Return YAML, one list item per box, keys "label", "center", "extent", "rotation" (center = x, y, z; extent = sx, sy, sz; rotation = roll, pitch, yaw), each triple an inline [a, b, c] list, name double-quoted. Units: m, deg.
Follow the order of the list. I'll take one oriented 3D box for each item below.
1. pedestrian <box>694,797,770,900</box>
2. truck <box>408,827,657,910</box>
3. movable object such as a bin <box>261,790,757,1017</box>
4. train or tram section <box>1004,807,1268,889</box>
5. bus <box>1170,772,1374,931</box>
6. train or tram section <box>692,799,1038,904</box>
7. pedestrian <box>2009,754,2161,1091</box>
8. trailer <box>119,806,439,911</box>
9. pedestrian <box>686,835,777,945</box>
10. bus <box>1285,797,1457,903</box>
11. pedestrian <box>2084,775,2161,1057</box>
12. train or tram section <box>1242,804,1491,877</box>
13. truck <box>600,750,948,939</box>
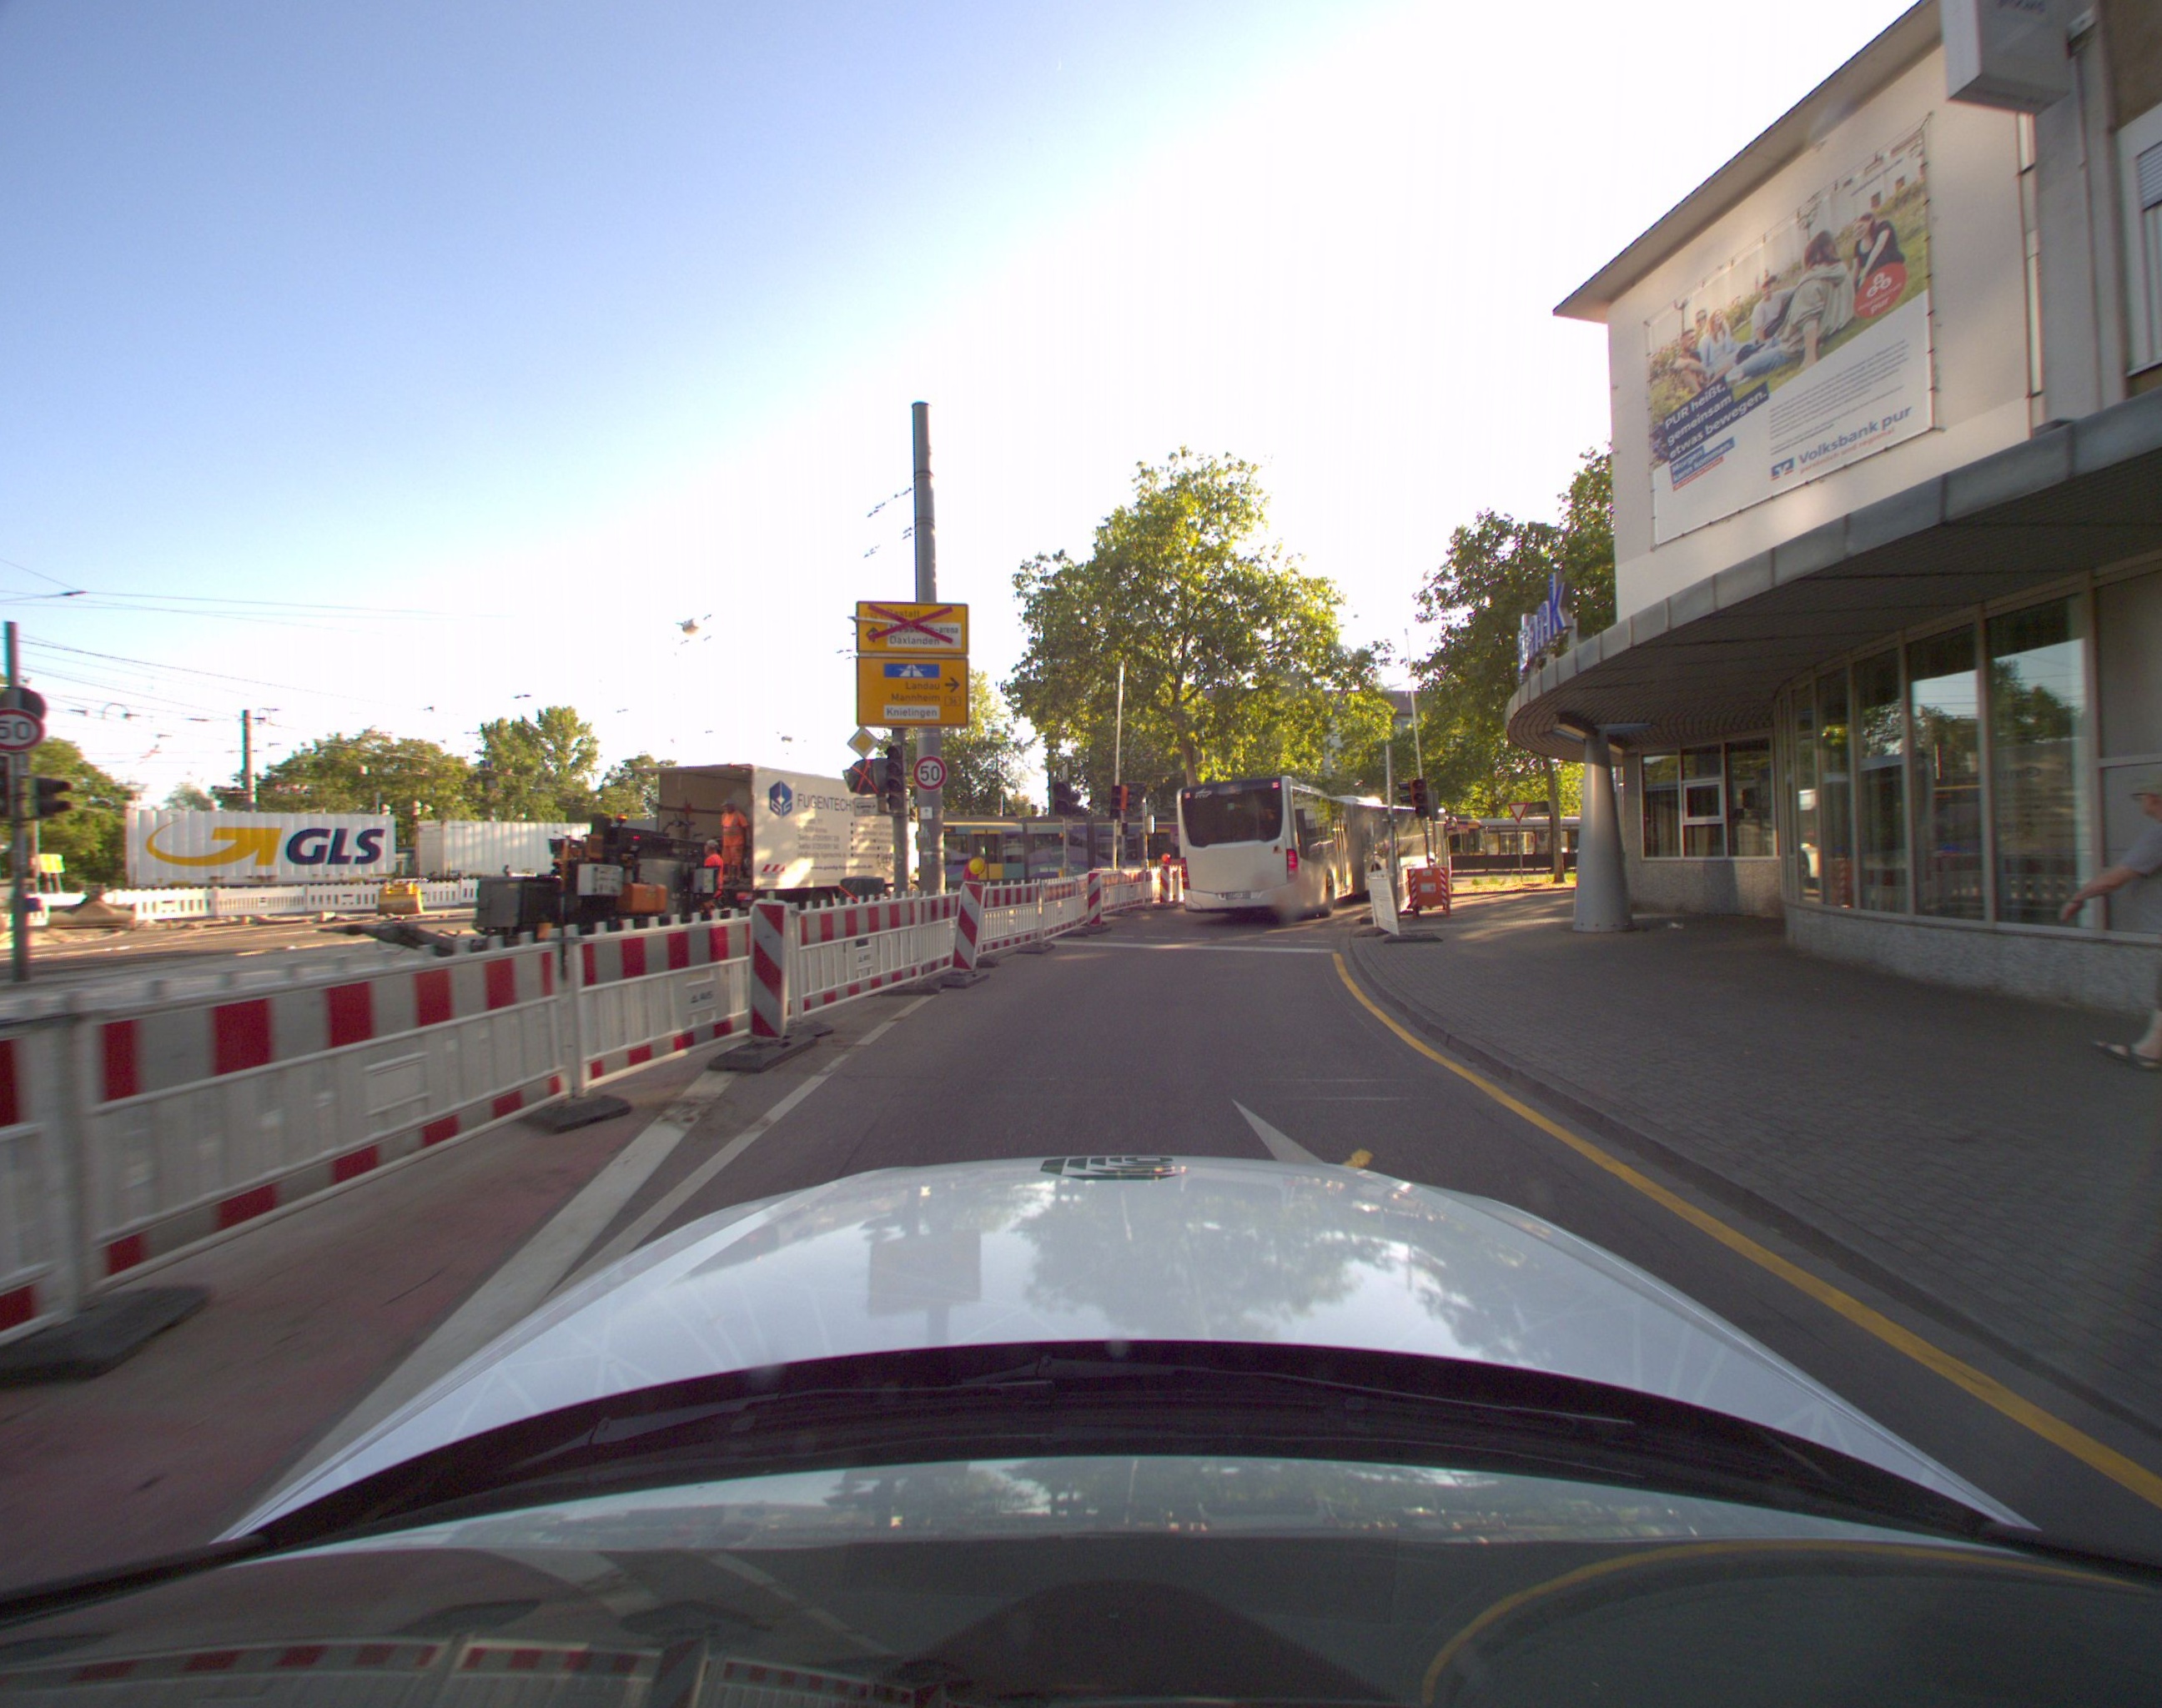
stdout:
- label: "pedestrian"
  center: [-7.103, -0.111, 16.612]
  extent: [0.929, 2.013, 1.006]
  rotation: [-1, 1, 16]
- label: "truck"
  center: [-27.803, 0.640, 42.157]
  extent: [2.863, 3.790, 10.498]
  rotation: [-2, 0, 29]
- label: "movable object such as a bin"
  center: [-6.962, 0.460, 10.854]
  extent: [1.977, 2.256, 5.233]
  rotation: [0, 1, 18]
- label: "train or tram section"
  center: [2.842, -0.361, 39.221]
  extent: [12.794, 3.549, 2.717]
  rotation: [-1, -1, -22]
- label: "bus"
  center: [5.568, -0.126, 21.453]
  extent: [2.708, 3.138, 10.768]
  rotation: [-2, 0, 27]
- label: "train or tram section"
  center: [-7.979, -0.135, 32.659]
  extent: [13.466, 3.533, 2.825]
  rotation: [-1, -1, -40]
- label: "pedestrian"
  center: [5.703, 0.332, 4.370]
  extent: [0.582, 1.708, 0.677]
  rotation: [-4, 0, -9]
- label: "trailer"
  center: [-33.006, 0.079, 34.055]
  extent: [2.859, 3.797, 9.305]
  rotation: [1, 1, 40]
- label: "pedestrian"
  center: [-5.938, 0.595, 13.906]
  extent: [0.967, 1.798, 1.072]
  rotation: [-1, 0, 8]
- label: "bus"
  center: [10.328, -0.202, 28.240]
  extent: [2.682, 3.107, 9.037]
  rotation: [-2, 0, 39]
- label: "pedestrian"
  center: [6.342, 0.334, 4.491]
  extent: [0.632, 1.573, 0.772]
  rotation: [-4, 1, -9]
- label: "train or tram section"
  center: [15.247, -0.749, 43.280]
  extent: [13.314, 3.519, 2.635]
  rotation: [-1, -1, -15]
- label: "truck"
  center: [-6.708, -0.206, 19.965]
  extent: [2.789, 3.541, 9.027]
  rotation: [-1, 0, 19]
